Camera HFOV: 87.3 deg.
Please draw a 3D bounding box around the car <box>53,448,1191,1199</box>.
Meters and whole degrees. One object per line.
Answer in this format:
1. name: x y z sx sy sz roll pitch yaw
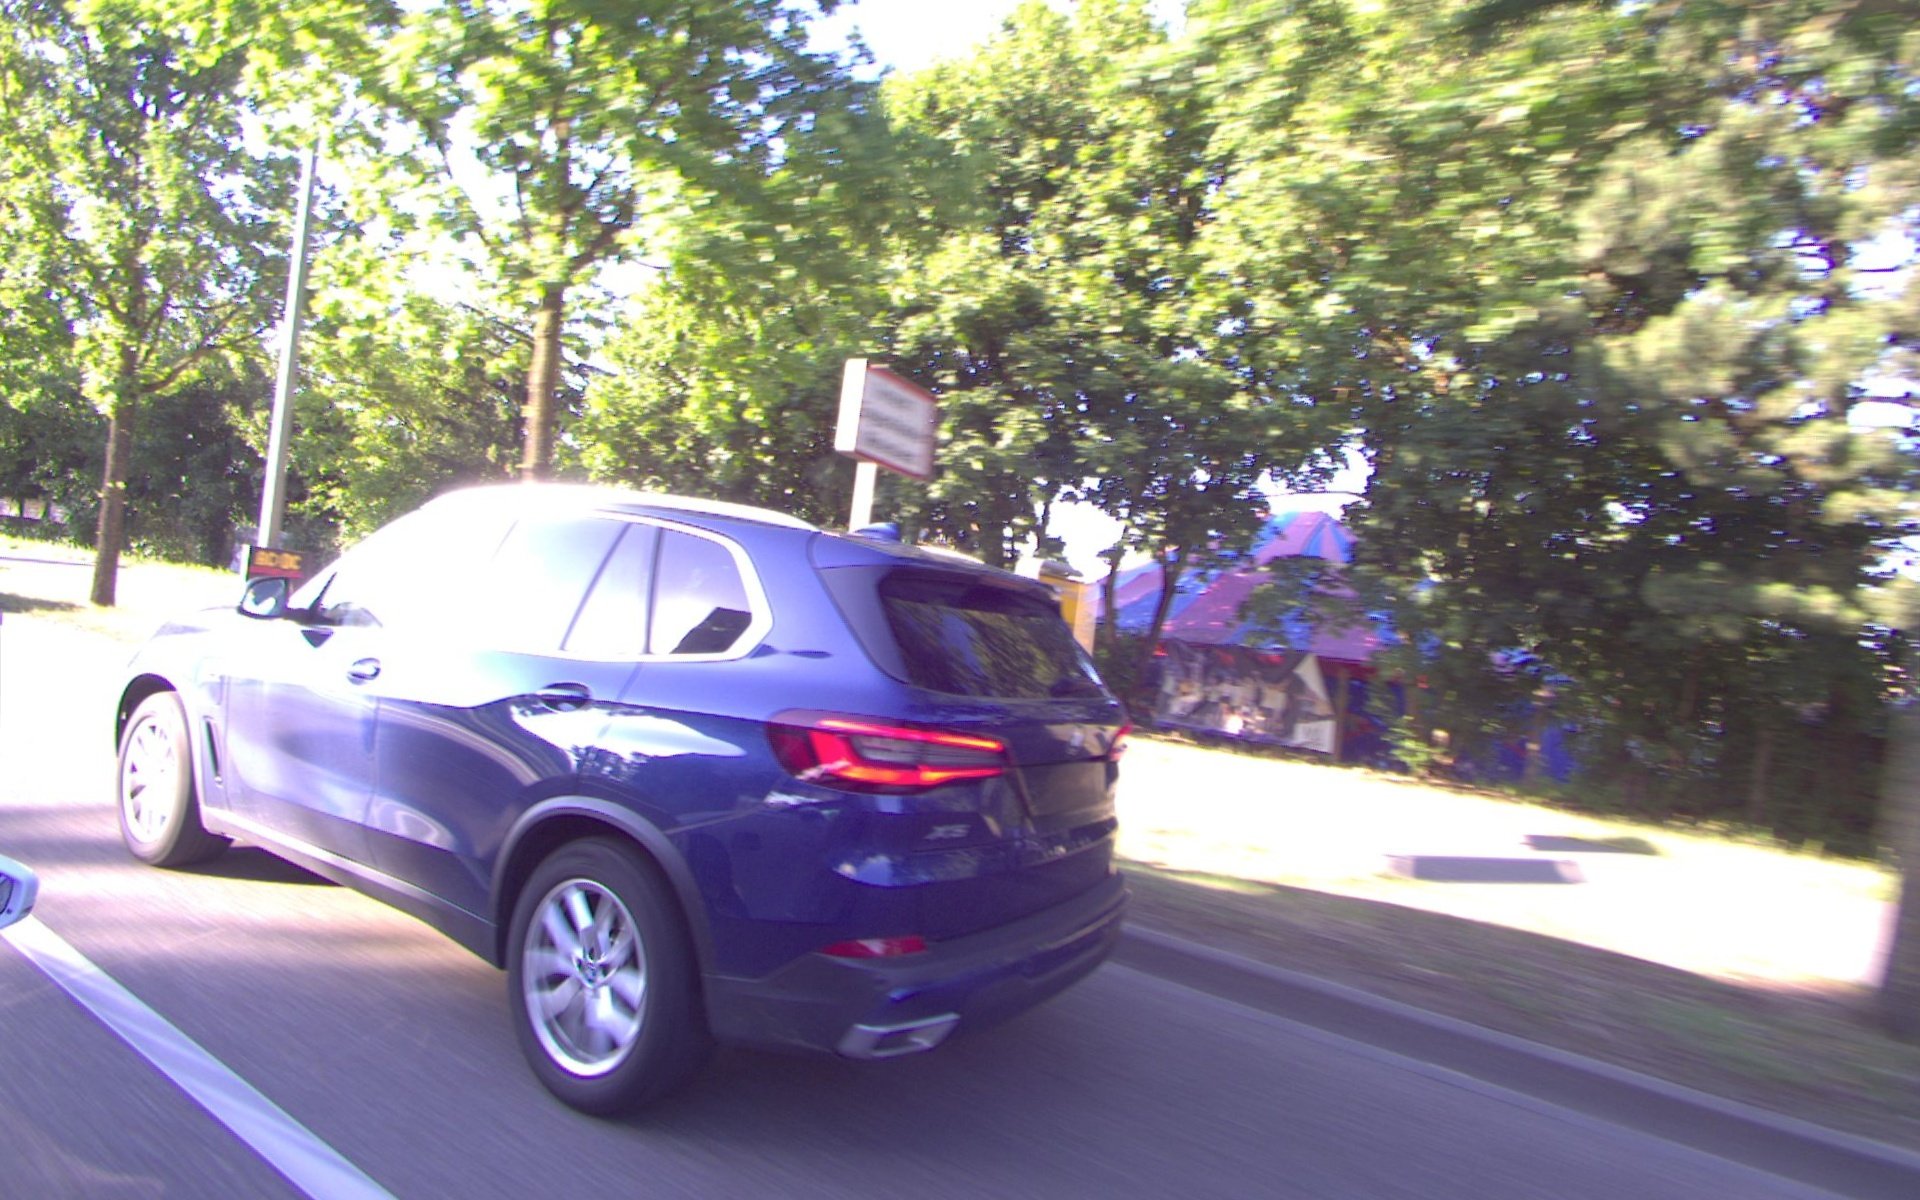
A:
1. car: -1.655 0.453 4.289 4.622 1.747 1.958 6 -2 32
